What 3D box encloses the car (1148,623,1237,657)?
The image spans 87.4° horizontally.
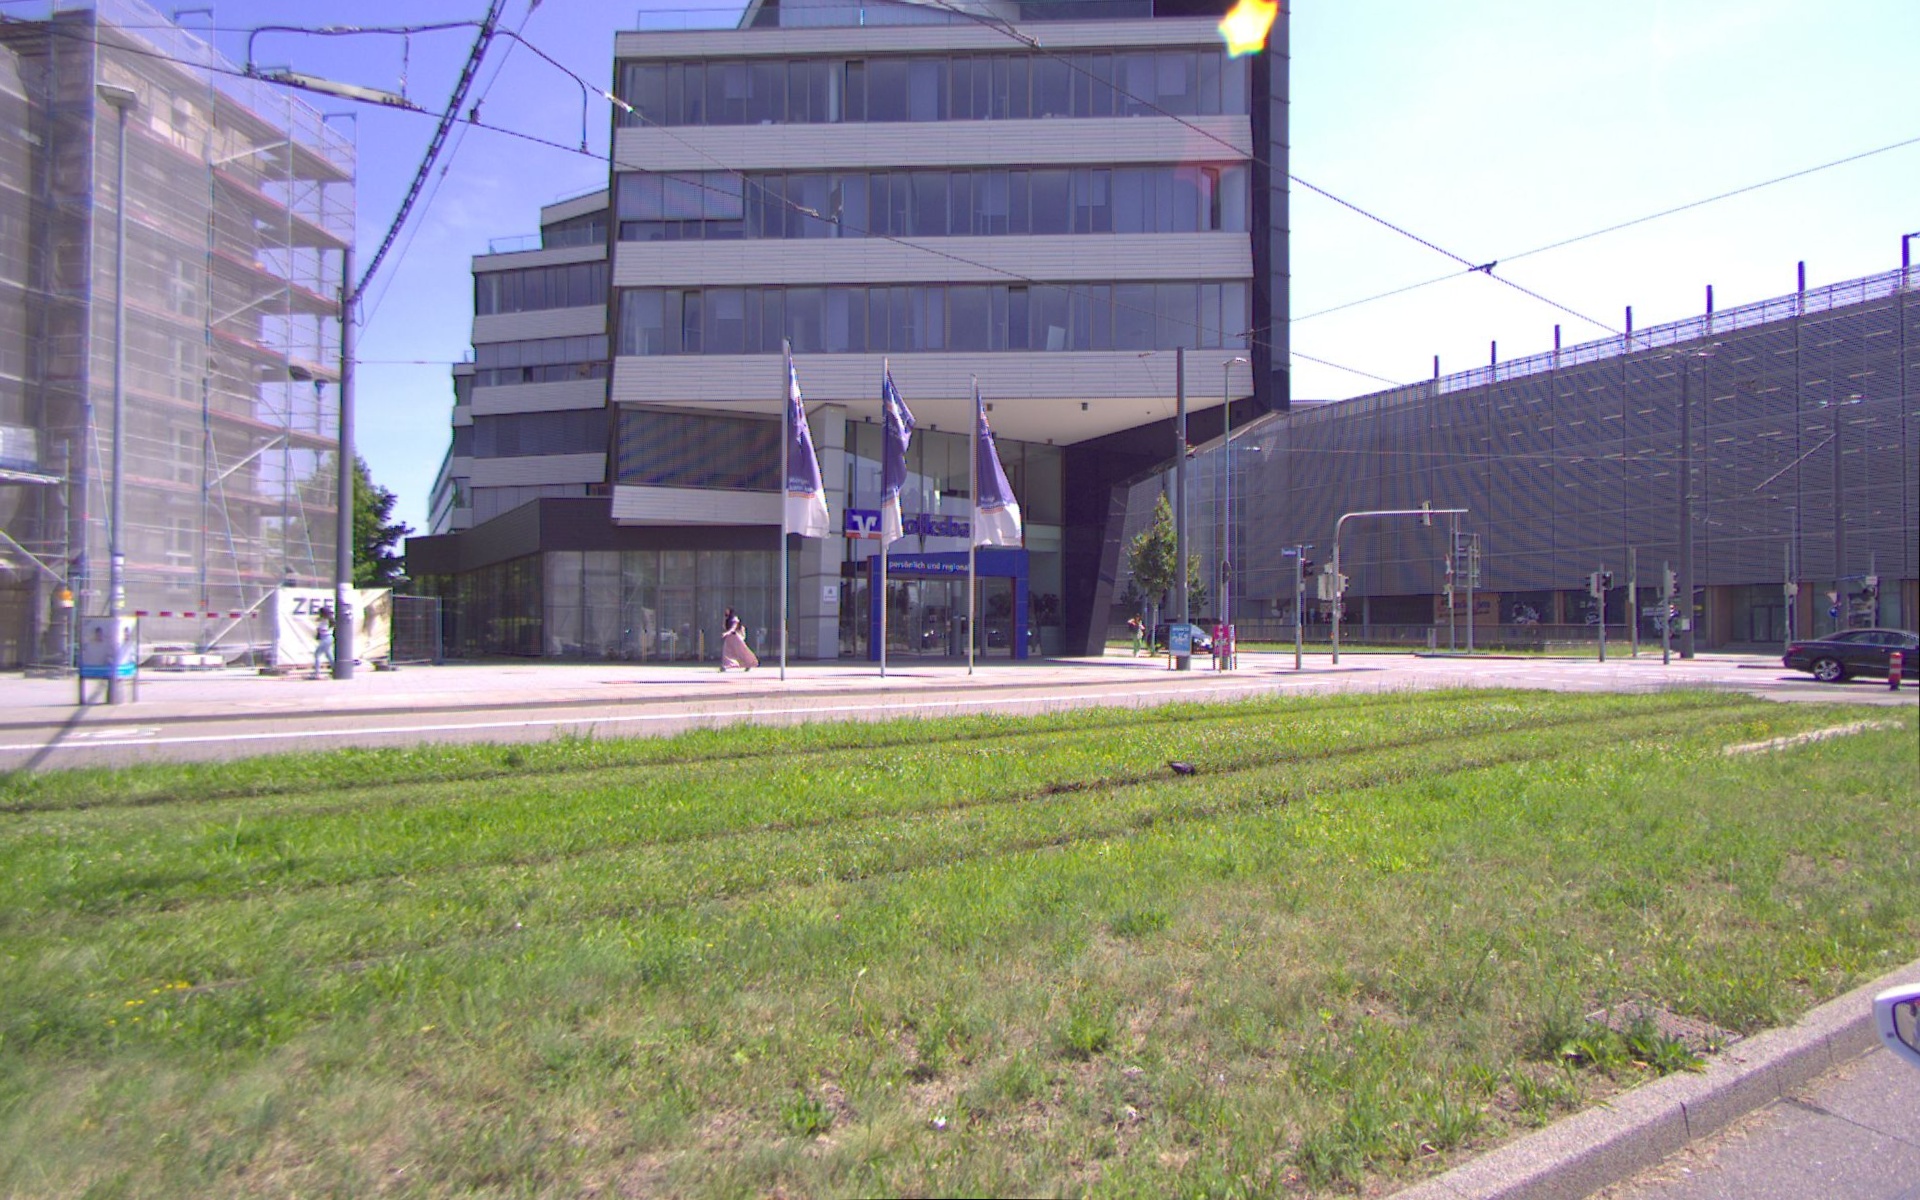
[{"bbox_3d":[12.031,2.046,52.181,1.981,1.574,4.290,0,0,-36],"label":"car"}]

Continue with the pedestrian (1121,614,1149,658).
[{"bbox_3d":[7.179,1.462,41.116,0.888,1.770,0.976,0,0,28],"label":"pedestrian"}]

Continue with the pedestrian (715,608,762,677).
[{"bbox_3d":[-5.476,1.025,24.798,0.907,1.652,0.741,0,0,-39],"label":"pedestrian"}]

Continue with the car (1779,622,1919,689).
[{"bbox_3d":[24.076,1.386,25.683,1.979,1.597,4.520,0,0,-34],"label":"car"}]

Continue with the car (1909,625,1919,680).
[{"bbox_3d":[28.068,1.430,26.066,1.868,1.480,4.735,0,0,-34],"label":"car"}]

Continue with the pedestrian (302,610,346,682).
[{"bbox_3d":[-13.914,0.991,21.971,0.578,1.539,0.581,0,0,19],"label":"pedestrian"}]

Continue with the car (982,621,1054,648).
[{"bbox_3d":[3.683,2.194,64.495,1.982,1.602,4.819,0,0,-37],"label":"car"}]
